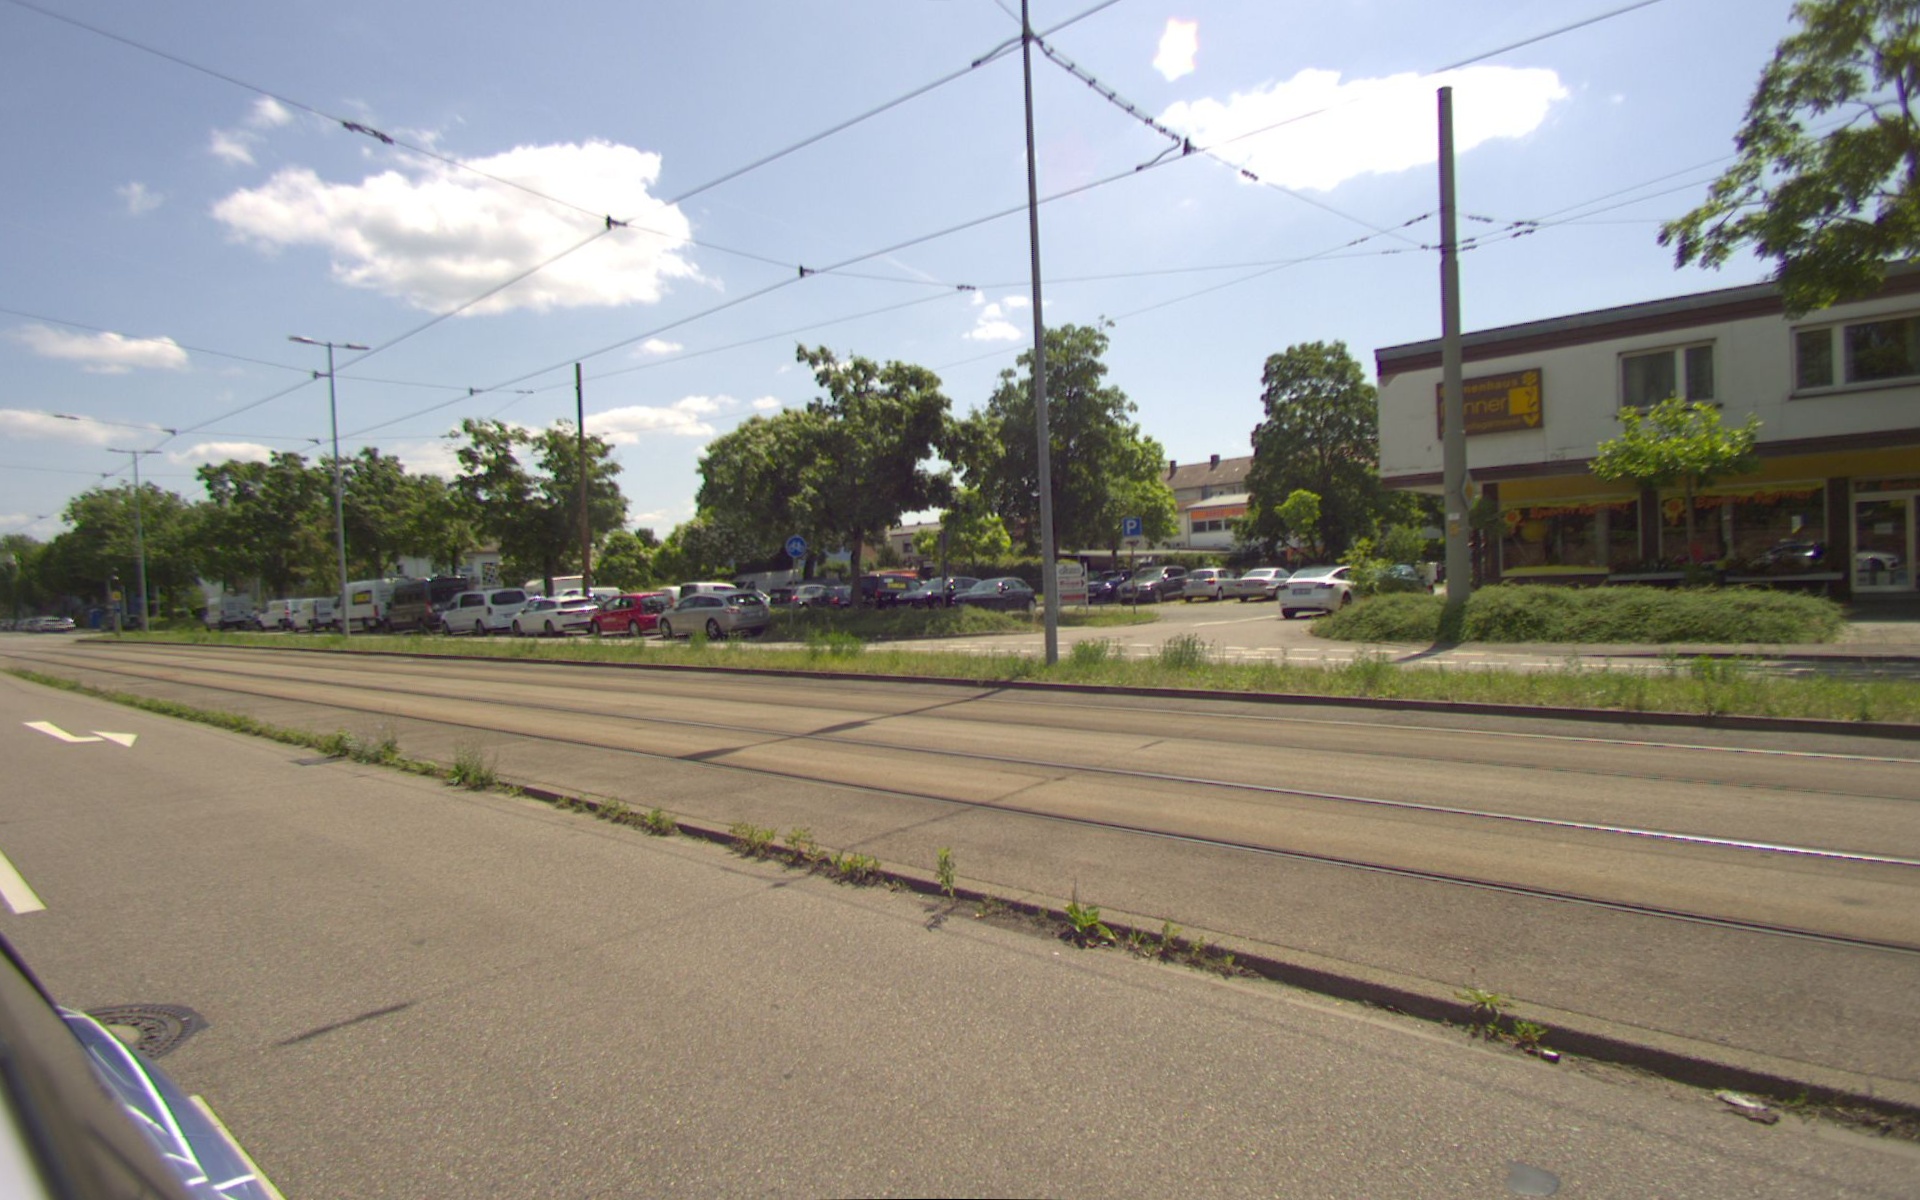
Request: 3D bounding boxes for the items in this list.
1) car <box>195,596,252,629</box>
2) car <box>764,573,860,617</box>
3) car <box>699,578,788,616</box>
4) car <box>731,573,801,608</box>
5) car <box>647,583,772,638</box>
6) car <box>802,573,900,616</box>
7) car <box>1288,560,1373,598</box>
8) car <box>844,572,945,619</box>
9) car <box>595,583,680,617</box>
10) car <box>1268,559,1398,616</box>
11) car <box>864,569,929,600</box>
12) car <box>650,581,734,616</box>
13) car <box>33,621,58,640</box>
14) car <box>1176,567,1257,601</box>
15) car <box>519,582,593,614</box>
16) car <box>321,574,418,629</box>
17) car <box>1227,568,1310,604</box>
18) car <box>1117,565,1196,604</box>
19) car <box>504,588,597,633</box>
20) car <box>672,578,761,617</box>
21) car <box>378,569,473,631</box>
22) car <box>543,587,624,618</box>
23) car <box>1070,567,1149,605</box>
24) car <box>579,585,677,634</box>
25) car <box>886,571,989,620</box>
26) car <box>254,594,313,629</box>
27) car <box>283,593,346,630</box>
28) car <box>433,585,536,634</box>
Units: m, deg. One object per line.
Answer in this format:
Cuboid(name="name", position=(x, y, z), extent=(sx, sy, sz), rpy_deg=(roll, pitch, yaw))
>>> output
Cuboid(name="car", position=(-51.809, 0.857, 71.196), extent=(4.485, 2.116, 2.046), rpy_deg=(-1, 4, 39))
Cuboid(name="car", position=(-6.484, -0.248, 44.597), extent=(1.803, 1.749, 3.945), rpy_deg=(-1, 1, 41))
Cuboid(name="car", position=(-10.402, -0.163, 48.809), extent=(1.803, 1.749, 3.945), rpy_deg=(-1, 0, 41))
Cuboid(name="car", position=(-13.157, -0.647, 68.889), extent=(1.849, 2.241, 4.595), rpy_deg=(-1, 0, 38))
Cuboid(name="car", position=(-8.096, 0.310, 32.504), extent=(4.550, 1.550, 1.560), rpy_deg=(0, 4, 42))
Cuboid(name="car", position=(-4.601, -0.232, 43.010), extent=(1.803, 1.749, 3.945), rpy_deg=(-1, 0, 41))
Cuboid(name="car", position=(15.408, -0.889, 42.020), extent=(1.907, 1.412, 3.943), rpy_deg=(-1, 1, 43))
Cuboid(name="car", position=(-2.657, -0.189, 41.576), extent=(1.878, 1.749, 3.945), rpy_deg=(-1, 1, 41))
Cuboid(name="car", position=(-17.041, -0.025, 53.555), extent=(1.803, 1.749, 3.945), rpy_deg=(-1, 0, 41))
Cuboid(name="car", position=(10.945, -0.397, 29.526), extent=(1.907, 1.445, 4.425), rpy_deg=(-3, 0, 43))
Cuboid(name="car", position=(-3.713, -0.899, 59.583), extent=(1.759, 1.749, 3.699), rpy_deg=(-1, 0, 38))
Cuboid(name="car", position=(-13.959, -0.102, 52.848), extent=(1.803, 1.749, 3.945), rpy_deg=(-1, 0, 41))
Cuboid(name="car", position=(-86.340, 2.863, 95.548), extent=(1.658, 1.702, 3.549), rpy_deg=(-1, 0, -43))
Cuboid(name="car", position=(11.776, -0.736, 46.305), extent=(1.907, 1.412, 3.943), rpy_deg=(-1, 1, 43))
Cuboid(name="car", position=(-35.255, -0.194, 88.461), extent=(2.257, 2.500, 5.629), rpy_deg=(-1, 1, 38))
Cuboid(name="car", position=(-30.902, 0.079, 52.864), extent=(6.700, 2.630, 2.129), rpy_deg=(-1, 4, 40))
Cuboid(name="car", position=(13.544, -0.632, 44.382), extent=(1.907, 1.412, 3.943), rpy_deg=(-1, 1, 43))
Cuboid(name="car", position=(9.211, -0.708, 47.306), extent=(1.721, 1.749, 3.942), rpy_deg=(-1, 0, 44))
Cuboid(name="car", position=(-15.689, 0.380, 38.710), extent=(4.358, 1.550, 1.483), rpy_deg=(0, 4, 42))
Cuboid(name="car", position=(-12.156, -0.148, 50.644), extent=(1.902, 1.749, 3.945), rpy_deg=(-1, 1, 41))
Cuboid(name="car", position=(-25.016, 0.010, 47.252), extent=(5.031, 2.630, 2.129), rpy_deg=(-1, 4, 41))
Cuboid(name="car", position=(-22.386, 0.120, 60.231), extent=(1.803, 1.749, 4.145), rpy_deg=(-1, 0, 41))
Cuboid(name="car", position=(7.219, -0.647, 48.724), extent=(1.804, 1.749, 3.942), rpy_deg=(-1, 0, 44))
Cuboid(name="car", position=(-11.837, 0.341, 35.995), extent=(3.644, 1.551, 1.485), rpy_deg=(-1, 4, 38))
Cuboid(name="car", position=(-0.853, -0.204, 39.667), extent=(1.803, 1.749, 3.945), rpy_deg=(-1, 1, 41))
Cuboid(name="car", position=(-42.195, 0.718, 63.094), extent=(4.485, 1.953, 1.773), rpy_deg=(-1, 4, 40))
Cuboid(name="car", position=(-37.416, 0.637, 58.633), extent=(4.647, 1.953, 1.772), rpy_deg=(-1, 4, 42))
Cuboid(name="car", position=(-20.464, 0.377, 43.479), extent=(4.886, 1.851, 2.129), rpy_deg=(-1, 4, 41))
